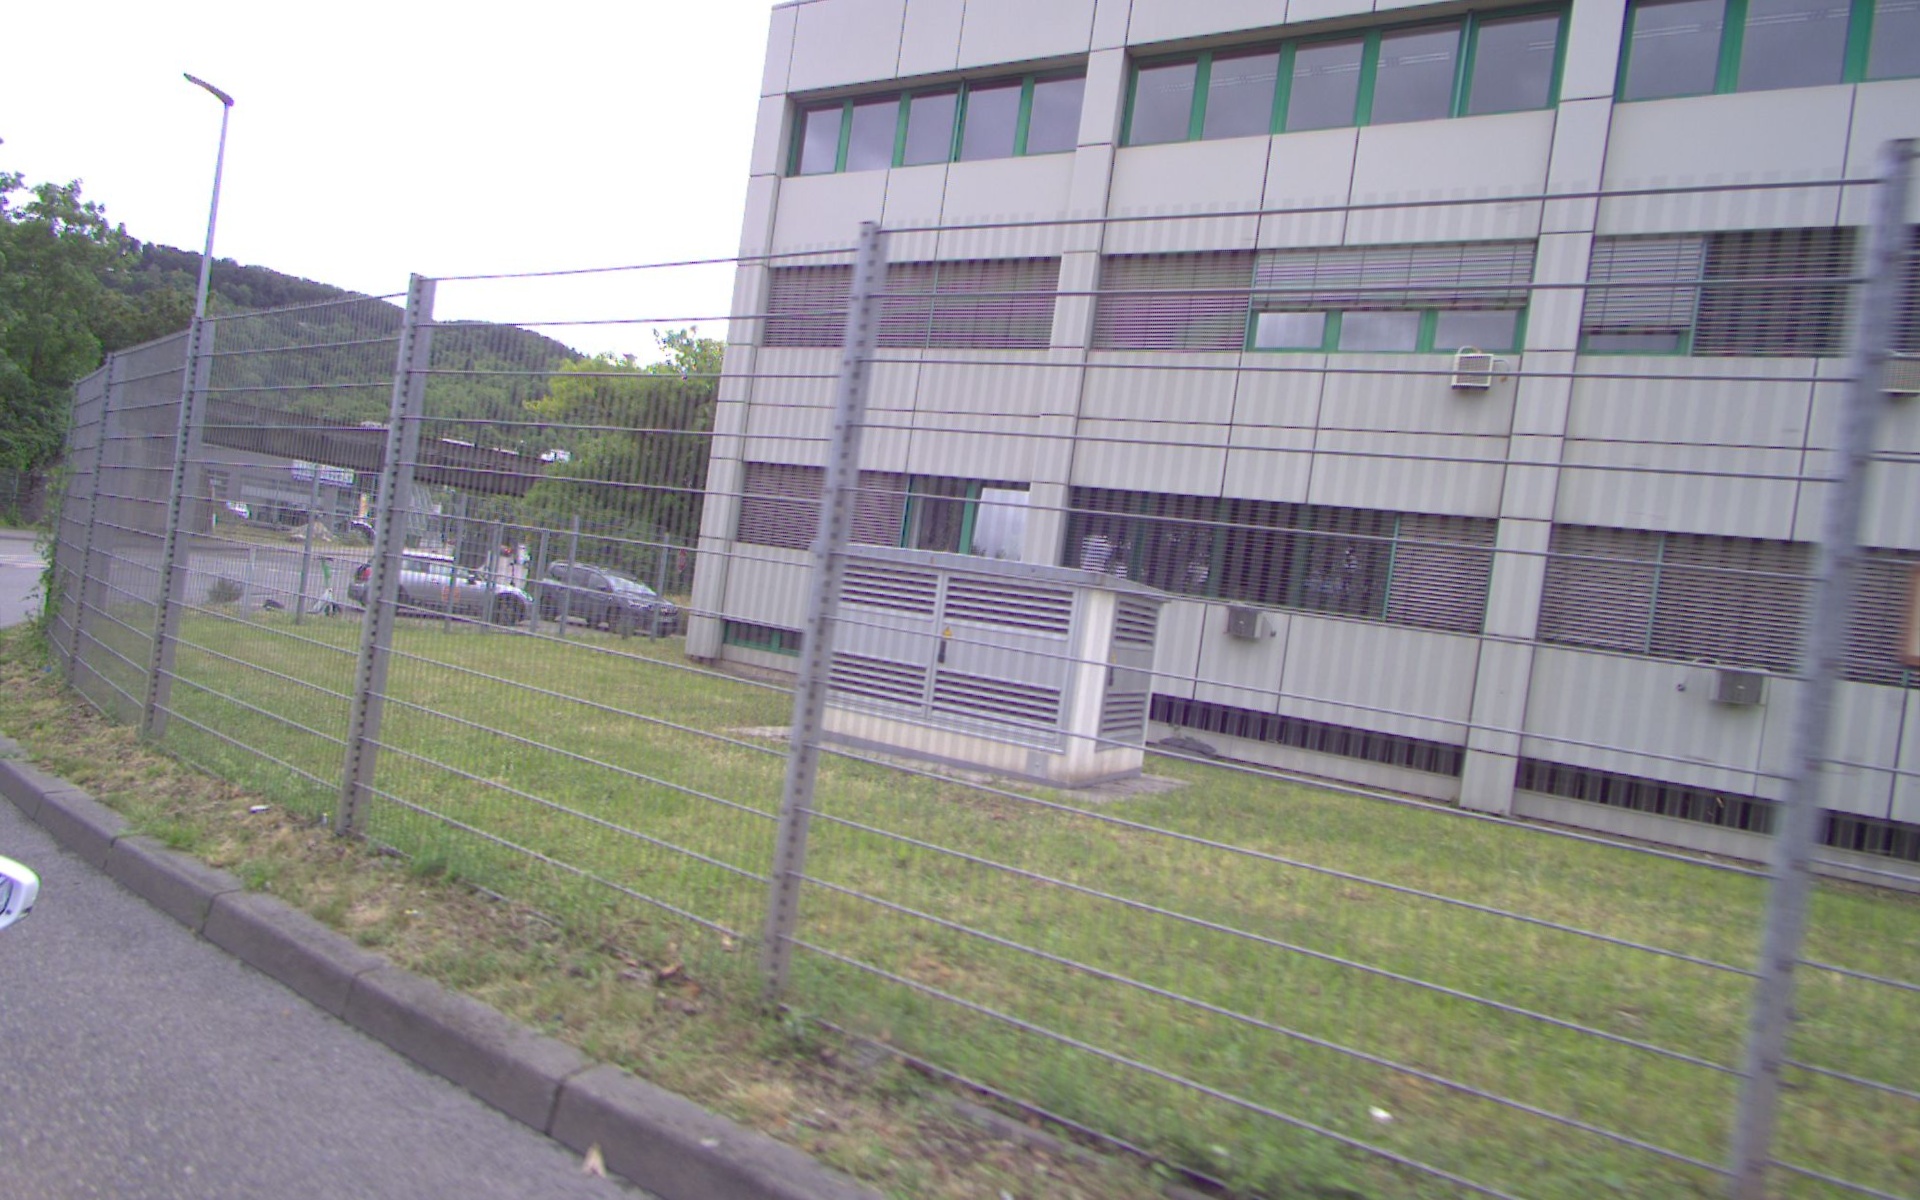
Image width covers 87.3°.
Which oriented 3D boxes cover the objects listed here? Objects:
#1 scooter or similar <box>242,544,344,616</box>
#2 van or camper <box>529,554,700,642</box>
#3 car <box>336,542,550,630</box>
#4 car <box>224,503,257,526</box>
[{"bbox_3d":[-12.305,-0.360,18.591,1.396,1.147,0.479,6,0,-14],"label":"scooter or similar"},{"bbox_3d":[-9.283,-0.080,26.895,4.433,1.714,1.830,7,-2,33],"label":"van or camper"},{"bbox_3d":[-11.794,-0.289,23.066,3.990,1.449,1.767,8,-1,-39],"label":"car"},{"bbox_3d":[-59.409,-7.084,83.039,1.984,1.553,3.959,9,-1,-37],"label":"car"}]
